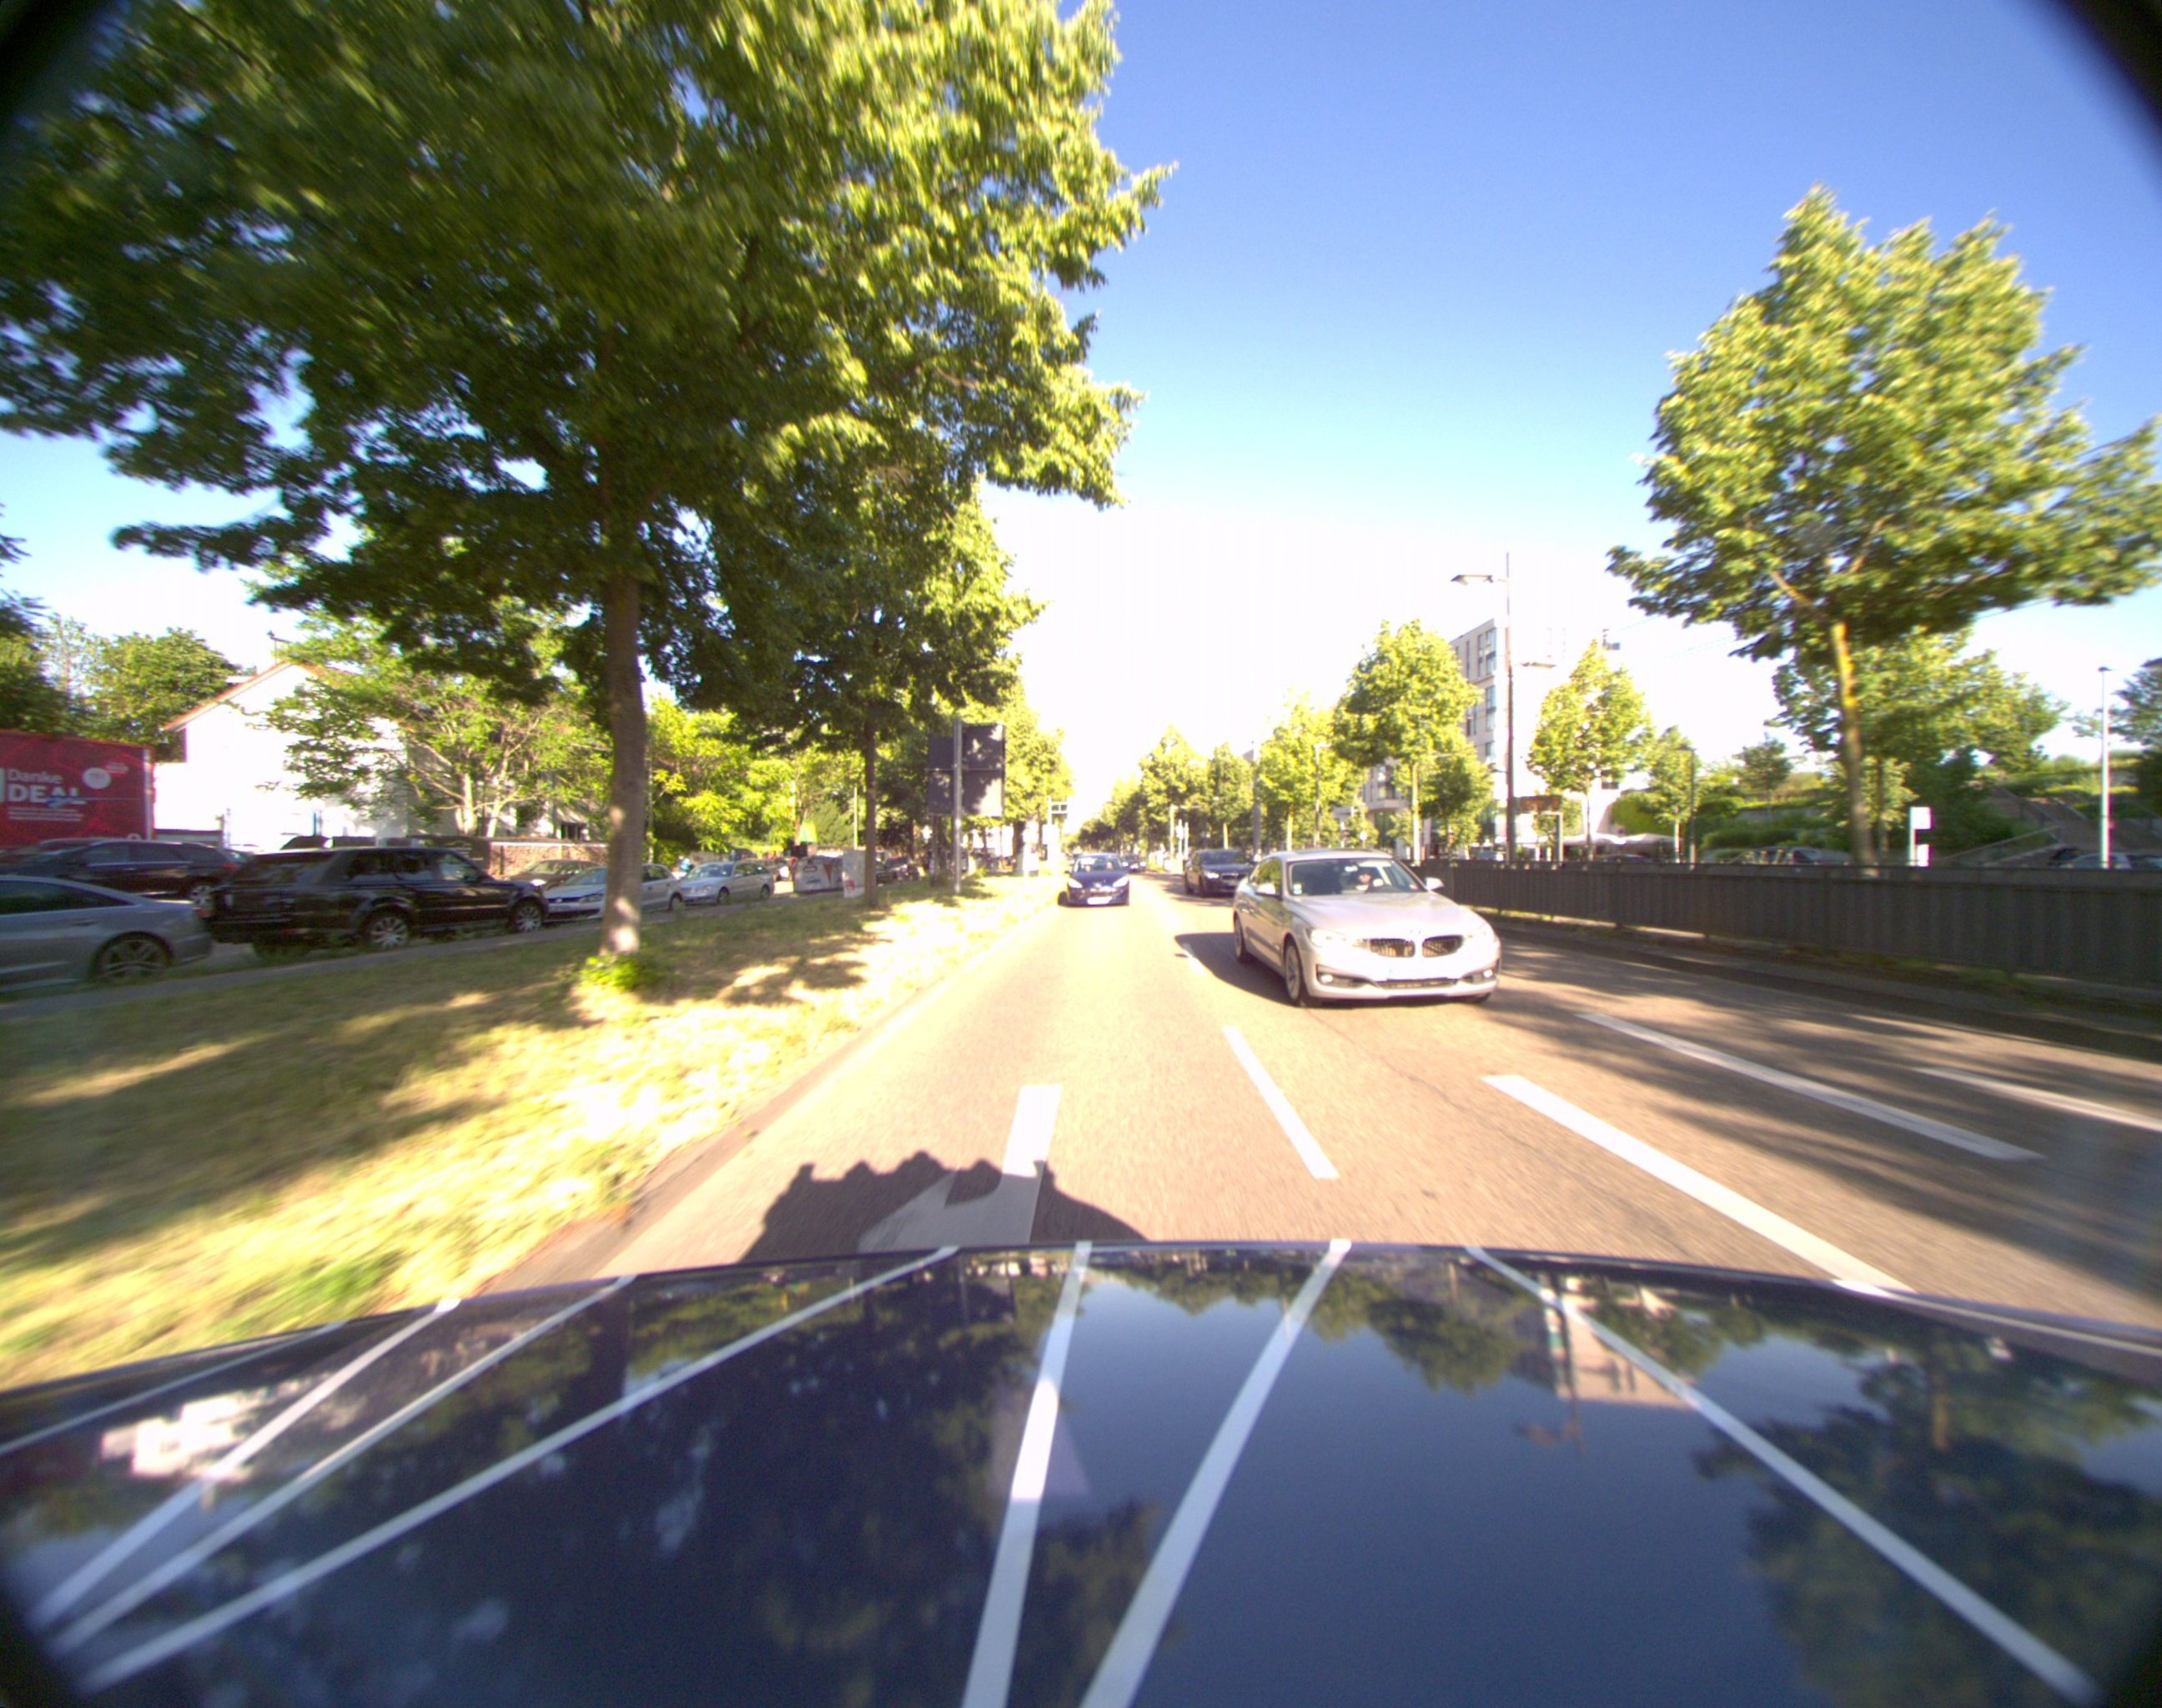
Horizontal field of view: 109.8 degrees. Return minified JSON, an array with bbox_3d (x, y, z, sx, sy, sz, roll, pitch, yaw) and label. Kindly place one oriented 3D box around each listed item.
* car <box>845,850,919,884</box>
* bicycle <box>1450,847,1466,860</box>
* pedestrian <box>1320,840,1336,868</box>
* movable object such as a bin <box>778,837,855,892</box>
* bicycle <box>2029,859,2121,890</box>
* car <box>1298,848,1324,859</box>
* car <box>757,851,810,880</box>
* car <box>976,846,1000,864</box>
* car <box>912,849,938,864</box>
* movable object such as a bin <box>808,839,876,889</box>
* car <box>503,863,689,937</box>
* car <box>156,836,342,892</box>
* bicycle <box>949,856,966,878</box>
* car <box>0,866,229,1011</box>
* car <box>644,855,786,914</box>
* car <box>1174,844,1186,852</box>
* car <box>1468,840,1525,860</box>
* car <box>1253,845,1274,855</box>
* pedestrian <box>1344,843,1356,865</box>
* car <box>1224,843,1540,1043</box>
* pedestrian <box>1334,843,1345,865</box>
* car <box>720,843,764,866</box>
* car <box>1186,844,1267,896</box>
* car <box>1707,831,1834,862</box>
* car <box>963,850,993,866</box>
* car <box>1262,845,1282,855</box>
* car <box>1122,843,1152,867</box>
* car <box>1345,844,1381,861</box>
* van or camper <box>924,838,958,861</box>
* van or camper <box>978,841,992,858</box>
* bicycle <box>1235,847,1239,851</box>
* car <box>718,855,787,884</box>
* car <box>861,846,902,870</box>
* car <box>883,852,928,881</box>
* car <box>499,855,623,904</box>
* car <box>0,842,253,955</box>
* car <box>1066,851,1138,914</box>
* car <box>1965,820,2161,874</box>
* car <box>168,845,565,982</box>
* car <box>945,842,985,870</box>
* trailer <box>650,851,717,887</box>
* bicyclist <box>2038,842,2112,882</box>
[{"bbox_3d":[-9.654,0.588,37.243,2.004,1.376,4.745,-2,1,4],"label":"car"},{"bbox_3d":[39.168,-0.035,78.961,0.589,1.245,1.839,-2,1,-1],"label":"bicycle"},{"bbox_3d":[16.664,-0.008,51.265,0.823,1.825,0.726,-2,2,-4],"label":"pedestrian"},{"bbox_3d":[-10.318,0.393,29.773,2.086,2.002,2.136,-2,1,3],"label":"movable object such as a bin"},{"bbox_3d":[36.305,0.728,27.801,0.498,0.995,2.188,-2,1,-1],"label":"bicycle"},{"bbox_3d":[31.364,-0.080,103.715,1.999,1.433,4.453,-2,1,-4],"label":"car"},{"bbox_3d":[-19.007,0.714,48.722,1.999,1.598,3.478,3,1,-1],"label":"car"},{"bbox_3d":[-9.014,0.058,74.141,1.741,1.633,4.351,-2,1,0],"label":"car"},{"bbox_3d":[-17.012,0.231,83.001,1.694,1.464,3.758,2,1,4],"label":"car"},{"bbox_3d":[-10.201,0.381,32.538,2.086,2.002,2.136,-2,1,3],"label":"movable object such as a bin"},{"bbox_3d":[-11.375,1.005,18.203,1.876,1.381,3.998,-2,1,-1],"label":"car"},{"bbox_3d":[-27.720,0.310,25.420,3.998,1.734,1.903,1,1,-3],"label":"car"},{"bbox_3d":[-6.379,0.643,39.285,0.494,1.040,1.903,-2,1,0],"label":"bicycle"},{"bbox_3d":[-12.149,0.952,7.494,1.876,1.425,4.901,-2,1,0],"label":"car"},{"bbox_3d":[-11.336,0.864,24.015,1.875,1.515,5.055,-2,1,2],"label":"car"},{"bbox_3d":[21.128,-1.272,162.046,1.998,1.562,4.166,-1,1,1],"label":"car"},{"bbox_3d":[32.175,-0.304,58.952,1.884,1.426,4.610,-1,1,0],"label":"car"},{"bbox_3d":[30.407,-0.670,126.609,1.999,1.433,4.776,-2,1,-4],"label":"car"},{"bbox_3d":[18.428,0.001,52.026,0.544,1.488,0.603,-2,2,3],"label":"pedestrian"},{"bbox_3d":[2.895,0.715,8.435,1.886,1.569,4.277,-2,1,2],"label":"car"},{"bbox_3d":[17.955,-0.024,52.759,0.551,1.509,0.588,-2,2,4],"label":"pedestrian"},{"bbox_3d":[-31.990,0.031,71.816,1.998,2.002,4.000,-2,1,4],"label":"car"},{"bbox_3d":[4.688,0.466,25.078,1.951,1.514,3.999,-1,1,1],"label":"car"},{"bbox_3d":[33.109,-0.374,36.685,1.917,1.318,4.609,-2,1,0],"label":"car"},{"bbox_3d":[-9.037,0.315,66.899,1.998,1.282,4.052,-2,1,0],"label":"car"},{"bbox_3d":[30.608,-0.593,121.695,1.999,1.433,4.454,-2,1,-2],"label":"car"},{"bbox_3d":[4.082,0.055,55.785,1.782,1.571,3.782,-2,1,-1],"label":"car"},{"bbox_3d":[31.930,-0.236,86.112,1.999,1.762,4.774,-2,1,-3],"label":"car"},{"bbox_3d":[-16.843,-0.514,91.733,2.562,2.668,6.566,1,0,3],"label":"van or camper"},{"bbox_3d":[-16.127,-0.786,127.761,1.999,2.715,4.961,2,1,-4],"label":"van or camper"},{"bbox_3d":[36.644,-1.096,178.813,0.581,0.948,1.848,-2,1,1],"label":"bicycle"},{"bbox_3d":[-19.276,0.860,44.834,1.998,1.474,4.324,1,1,3],"label":"car"},{"bbox_3d":[-18.072,0.320,69.001,2.091,2.002,4.943,-1,1,3],"label":"car"},{"bbox_3d":[-9.855,0.672,42.849,1.666,1.492,2.989,-2,1,1],"label":"car"},{"bbox_3d":[-19.915,0.909,29.334,1.999,1.630,3.999,2,1,0],"label":"car"},{"bbox_3d":[-20.416,0.775,15.497,1.876,1.991,4.689,1,1,0],"label":"car"},{"bbox_3d":[0.530,0.697,21.106,1.767,1.463,3.999,-2,1,0],"label":"car"},{"bbox_3d":[33.321,-0.260,25.466,1.999,1.599,4.609,-2,1,0],"label":"car"},{"bbox_3d":[-11.595,0.806,13.002,1.875,1.810,4.893,-2,1,4],"label":"car"},{"bbox_3d":[-9.203,0.113,60.721,2.195,2.002,5.818,-2,1,0],"label":"car"},{"bbox_3d":[-20.216,0.730,38.787,1.734,1.631,3.023,1,1,3],"label":"trailer"},{"bbox_3d":[36.292,0.269,27.769,0.490,1.398,1.660,-2,1,-1],"label":"bicyclist"}]
